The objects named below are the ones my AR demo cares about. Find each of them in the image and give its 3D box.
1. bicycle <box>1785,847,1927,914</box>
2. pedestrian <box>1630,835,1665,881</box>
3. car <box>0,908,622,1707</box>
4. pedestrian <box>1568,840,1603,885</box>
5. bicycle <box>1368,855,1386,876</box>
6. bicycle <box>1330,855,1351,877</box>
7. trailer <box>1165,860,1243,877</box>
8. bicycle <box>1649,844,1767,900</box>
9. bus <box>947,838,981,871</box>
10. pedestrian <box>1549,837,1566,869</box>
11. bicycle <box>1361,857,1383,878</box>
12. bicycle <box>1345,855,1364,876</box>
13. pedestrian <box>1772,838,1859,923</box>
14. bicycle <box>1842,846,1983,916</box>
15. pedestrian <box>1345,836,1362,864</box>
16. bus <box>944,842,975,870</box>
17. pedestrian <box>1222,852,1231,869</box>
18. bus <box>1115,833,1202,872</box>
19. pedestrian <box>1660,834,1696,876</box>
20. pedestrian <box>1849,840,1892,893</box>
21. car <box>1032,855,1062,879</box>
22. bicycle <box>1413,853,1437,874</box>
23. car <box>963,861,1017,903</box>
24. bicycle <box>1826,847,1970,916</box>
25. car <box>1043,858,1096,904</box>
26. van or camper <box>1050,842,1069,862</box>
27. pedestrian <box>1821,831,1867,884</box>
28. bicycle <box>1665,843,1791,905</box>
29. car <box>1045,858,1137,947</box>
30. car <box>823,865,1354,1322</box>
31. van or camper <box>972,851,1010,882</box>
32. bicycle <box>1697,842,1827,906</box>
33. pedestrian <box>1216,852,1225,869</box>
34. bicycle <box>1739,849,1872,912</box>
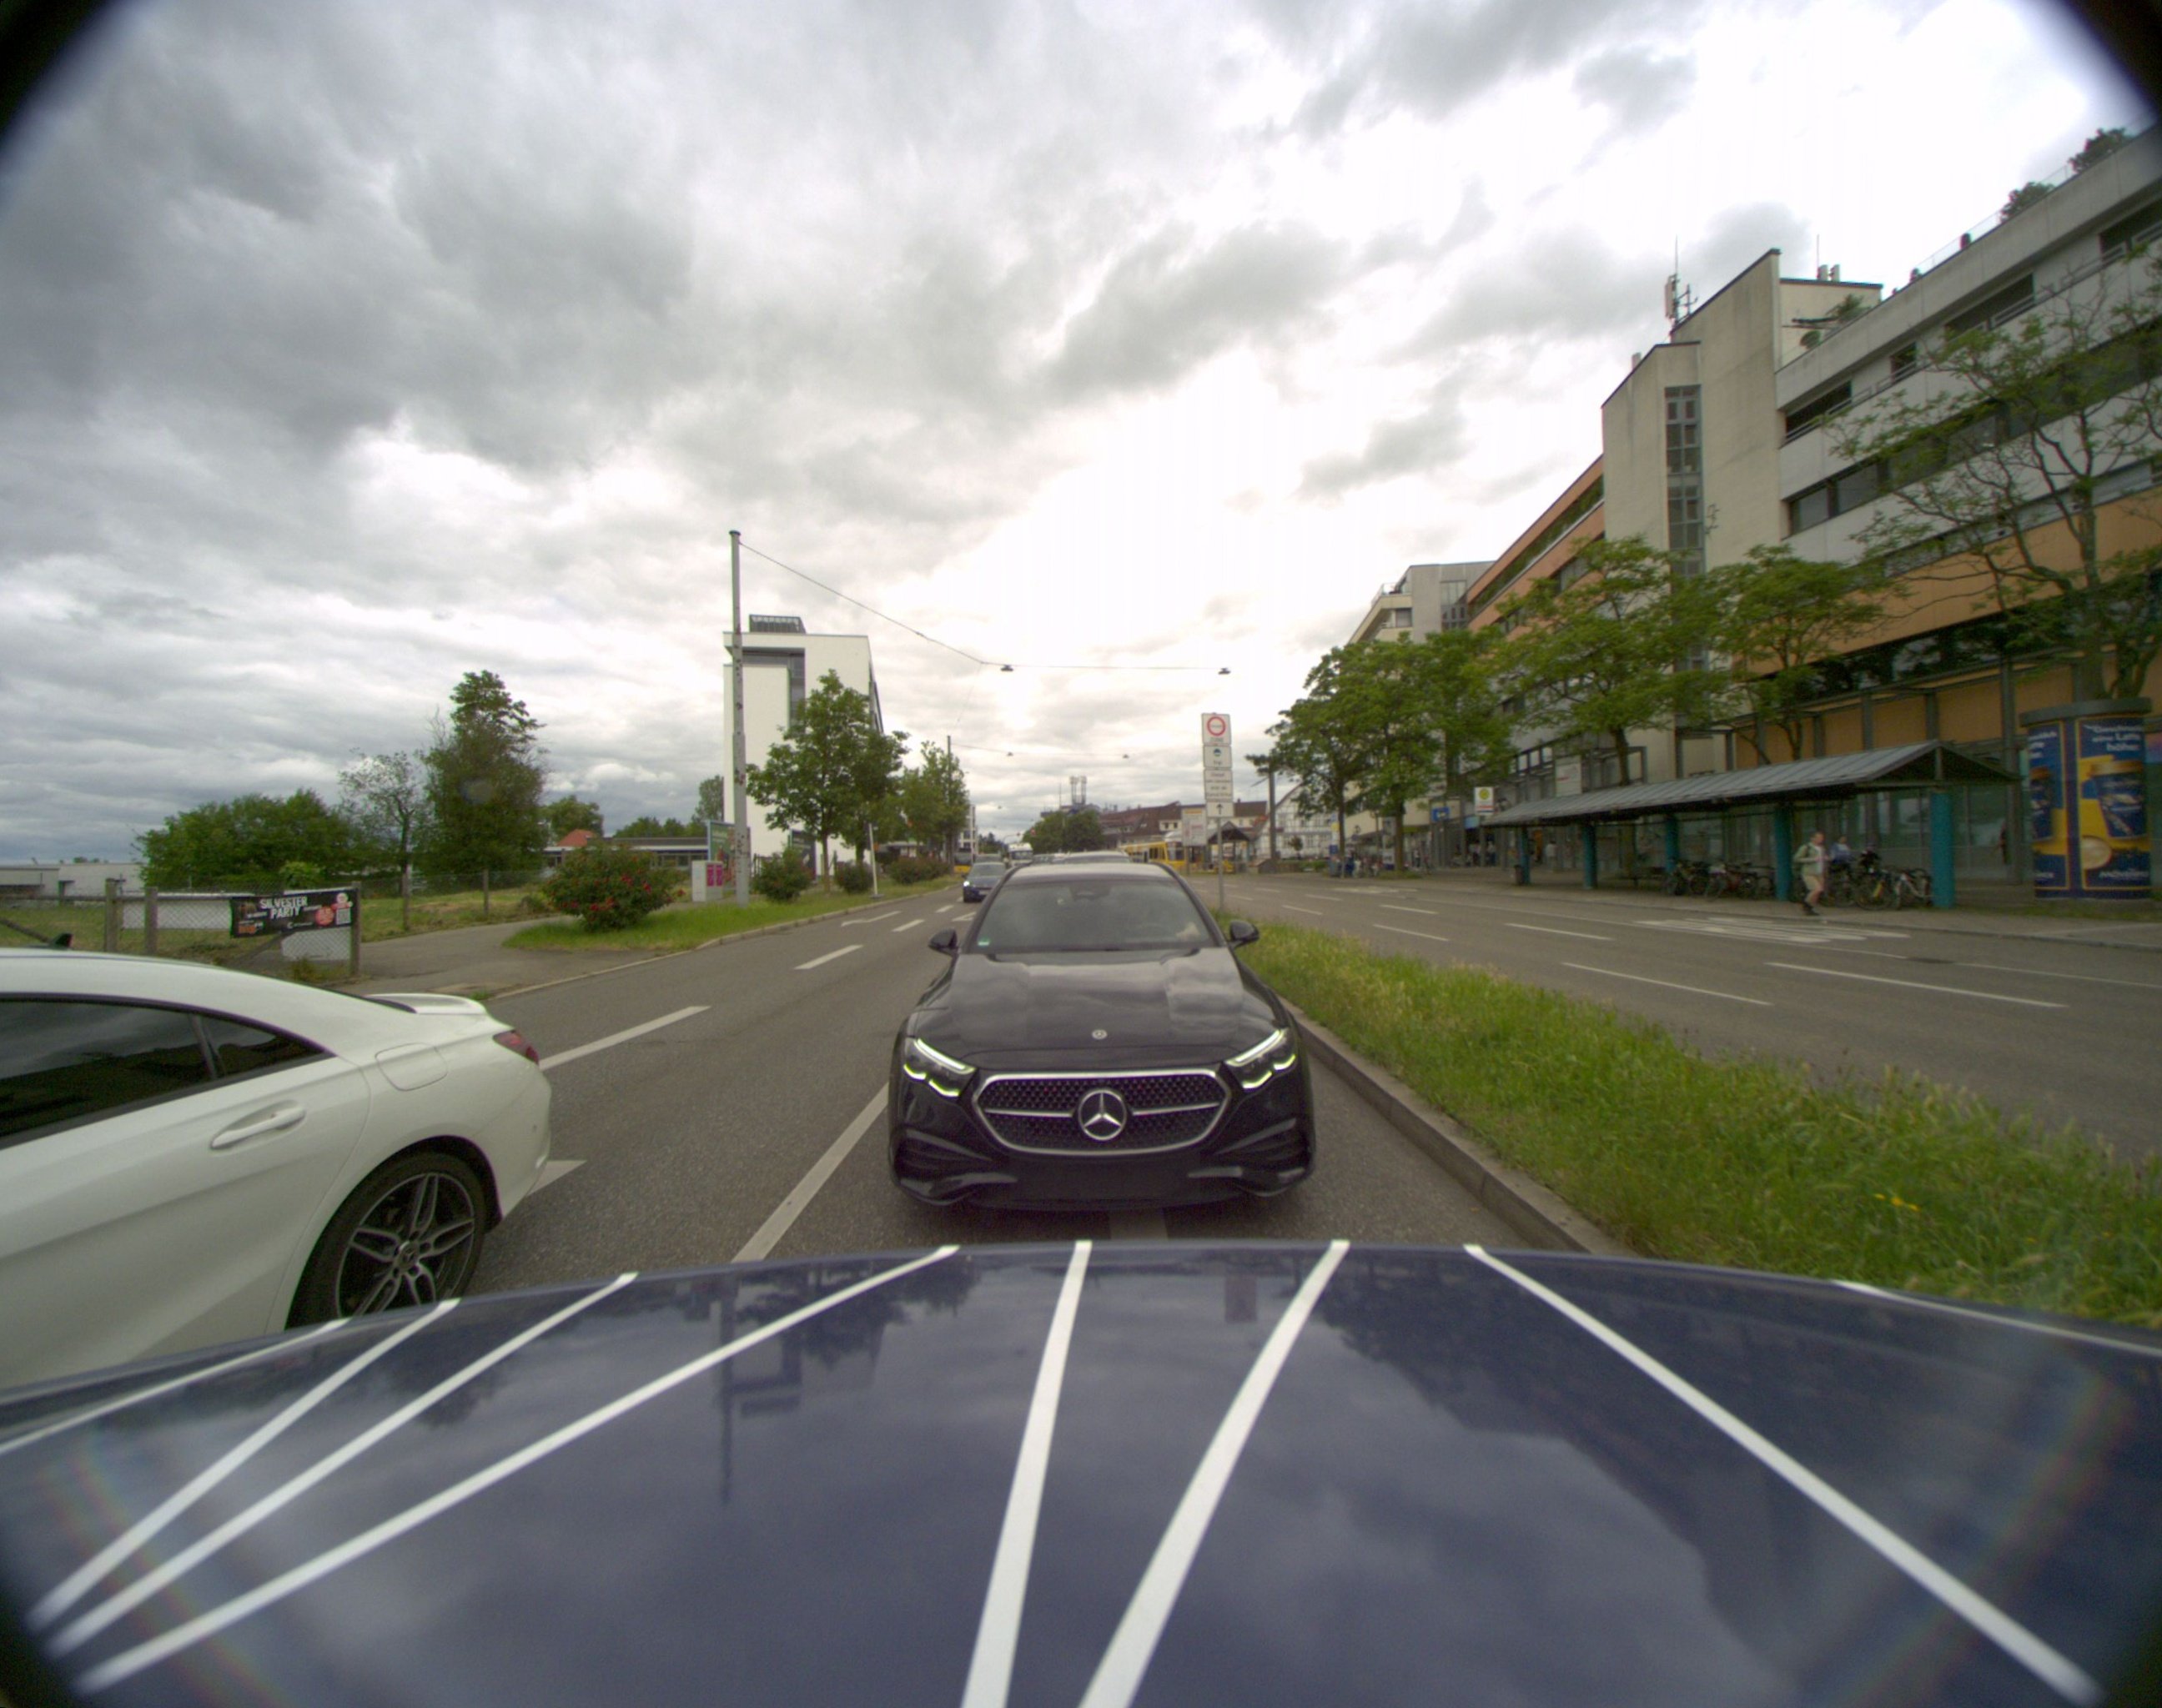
[{"bbox_3d":[18.489,0.608,18.143,2.908,1.498,0.778,-1,0,-8],"label":"bicycle"},{"bbox_3d":[21.752,0.135,29.185,0.774,1.706,0.787,-3,1,17],"label":"pedestrian"},{"bbox_3d":[-3.078,1.023,1.111,1.872,1.496,4.773,-3,0,0],"label":"car"},{"bbox_3d":[19.427,0.323,29.256,0.777,1.703,0.706,-3,1,-6],"label":"pedestrian"},{"bbox_3d":[16.167,0.622,41.524,0.603,1.154,1.693,-1,-1,31],"label":"bicycle"},{"bbox_3d":[14.798,0.667,43.312,0.603,1.154,1.969,-3,-1,33],"label":"bicycle"},{"bbox_3d":[10.904,1.281,69.067,2.851,1.325,12.115,-1,-1,-12],"label":"trailer"},{"bbox_3d":[18.666,0.525,22.655,2.908,1.498,0.972,-3,0,-8],"label":"bicycle"},{"bbox_3d":[-12.623,0.131,81.281,2.993,3.222,9.856,-1,0,-12],"label":"bus"},{"bbox_3d":[24.056,-0.065,38.356,0.633,1.591,0.624,-3,1,29],"label":"pedestrian"},{"bbox_3d":[16.451,0.737,42.963,0.604,1.154,1.966,-1,-1,4],"label":"bicycle"},{"bbox_3d":[15.339,0.639,42.614,0.603,1.154,1.969,-1,-1,32],"label":"bicycle"},{"bbox_3d":[16.398,0.566,16.993,0.705,1.812,1.213,-3,1,-3],"label":"pedestrian"},{"bbox_3d":[18.720,0.588,17.108,2.908,1.498,0.598,-1,0,-8],"label":"bicycle"},{"bbox_3d":[18.402,-0.268,51.300,0.747,1.866,0.873,-1,0,-8],"label":"pedestrian"},{"bbox_3d":[-14.555,0.288,90.522,3.047,3.216,9.329,-1,-1,-12],"label":"bus"},{"bbox_3d":[14.013,0.624,73.188,0.601,1.564,0.620,-1,0,-10],"label":"pedestrian"},{"bbox_3d":[8.085,-0.008,84.413,3.891,3.836,19.323,-1,-1,-12],"label":"bus"},{"bbox_3d":[25.178,0.030,32.051,0.772,1.706,0.789,-3,1,-8],"label":"pedestrian"},{"bbox_3d":[24.324,0.376,23.415,0.634,1.591,0.622,-3,0,-5],"label":"pedestrian"},{"bbox_3d":[-2.268,0.842,51.134,1.735,1.544,4.369,-2,0,0],"label":"car"},{"bbox_3d":[19.130,0.535,42.244,0.672,1.154,2.023,-1,-1,39],"label":"bicycle"},{"bbox_3d":[-3.462,1.028,29.648,1.735,1.474,4.368,-2,0,-3],"label":"car"},{"bbox_3d":[18.653,0.605,17.358,2.908,1.498,0.700,-1,0,-8],"label":"bicycle"},{"bbox_3d":[-0.378,0.921,27.543,1.735,1.474,4.369,-2,0,0],"label":"car"},{"bbox_3d":[-2.931,-0.215,104.231,2.039,2.582,6.112,1,-1,-7],"label":"van or camper"},{"bbox_3d":[23.603,0.103,23.508,0.668,1.574,0.706,-3,1,-6],"label":"pedestrian"},{"bbox_3d":[17.990,0.536,21.147,2.908,1.498,0.891,-4,1,-8],"label":"bicycle"},{"bbox_3d":[0.211,0.954,17.042,1.735,1.680,4.369,-2,0,0],"label":"car"},{"bbox_3d":[-0.030,0.919,5.213,1.873,1.542,4.773,-4,-1,-2],"label":"car"},{"bbox_3d":[-5.793,0.764,49.229,1.809,1.867,4.849,-2,0,0],"label":"van or camper"},{"bbox_3d":[18.134,0.521,20.252,2.908,1.498,0.811,-3,0,-7],"label":"bicycle"},{"bbox_3d":[13.326,0.603,72.450,0.601,1.564,0.620,-1,0,-10],"label":"pedestrian"},{"bbox_3d":[18.314,0.655,19.220,2.908,1.498,0.805,-1,0,-8],"label":"bicycle"}]
